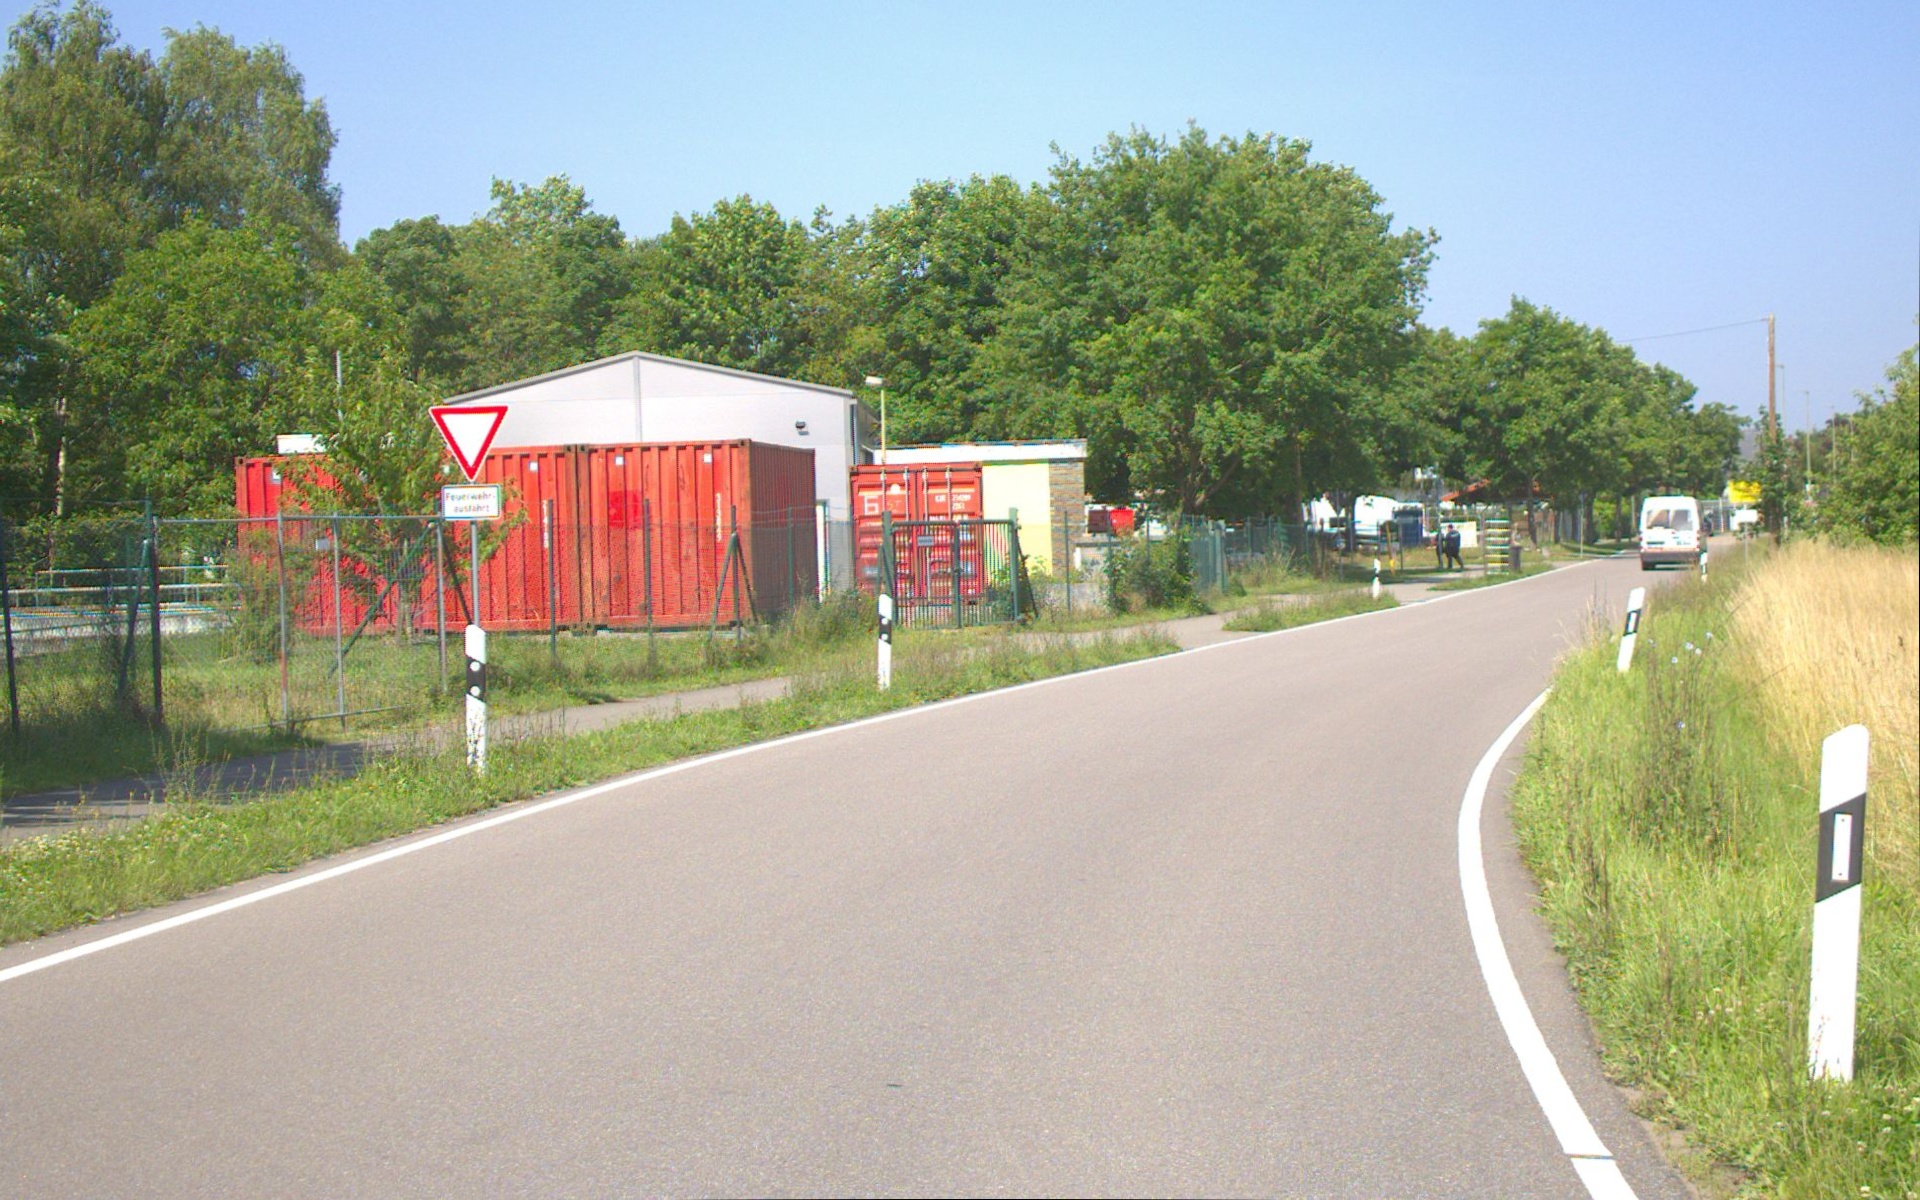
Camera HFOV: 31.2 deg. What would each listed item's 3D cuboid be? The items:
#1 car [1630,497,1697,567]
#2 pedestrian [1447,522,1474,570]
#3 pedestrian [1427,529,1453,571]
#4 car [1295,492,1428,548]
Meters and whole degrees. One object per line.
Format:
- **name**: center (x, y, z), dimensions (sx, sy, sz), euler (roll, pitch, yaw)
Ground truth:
- **car**: center (24.077, -2.337, 117.598), dimensions (1.995, 2.258, 4.723), euler (-2, 1, 14)
- **pedestrian**: center (19.028, -2.051, 130.732), dimensions (0.721, 1.797, 0.709), euler (-1, 1, 37)
- **pedestrian**: center (18.197, -1.895, 130.394), dimensions (0.678, 1.560, 0.717), euler (-1, 1, 37)
- **car**: center (17.810, -3.554, 152.468), dimensions (5.594, 2.258, 2.000), euler (-2, 1, -24)
